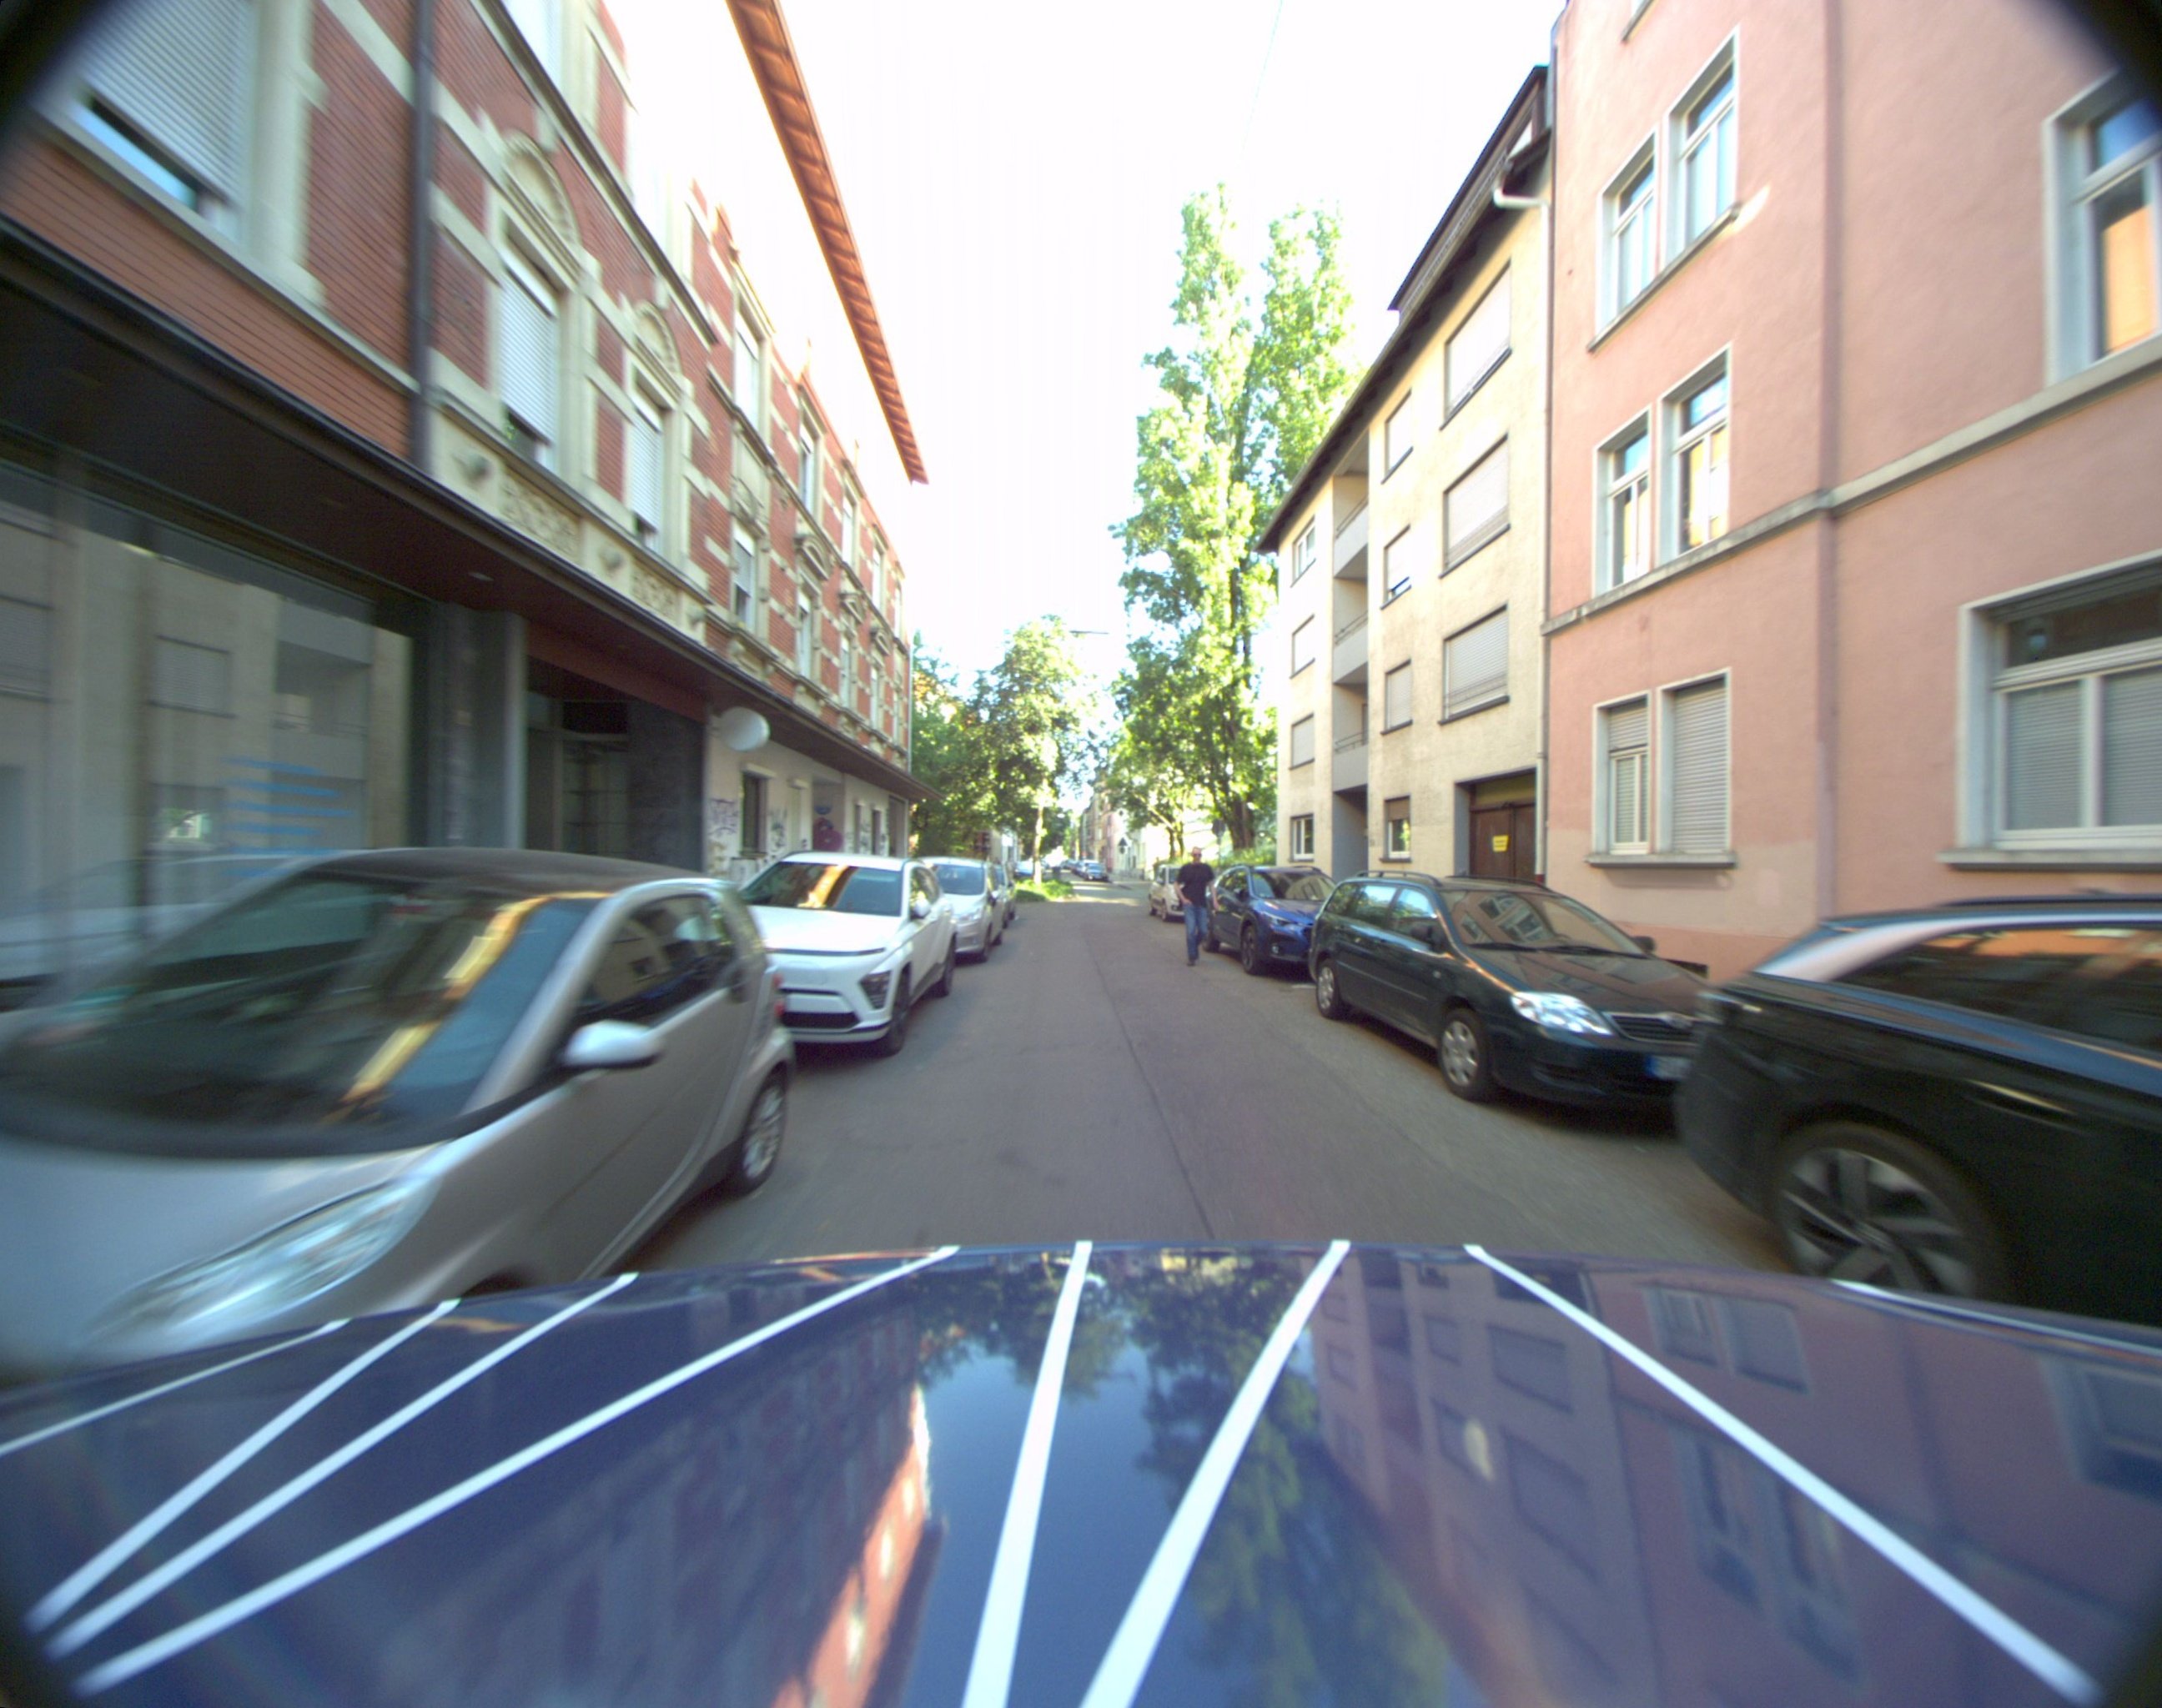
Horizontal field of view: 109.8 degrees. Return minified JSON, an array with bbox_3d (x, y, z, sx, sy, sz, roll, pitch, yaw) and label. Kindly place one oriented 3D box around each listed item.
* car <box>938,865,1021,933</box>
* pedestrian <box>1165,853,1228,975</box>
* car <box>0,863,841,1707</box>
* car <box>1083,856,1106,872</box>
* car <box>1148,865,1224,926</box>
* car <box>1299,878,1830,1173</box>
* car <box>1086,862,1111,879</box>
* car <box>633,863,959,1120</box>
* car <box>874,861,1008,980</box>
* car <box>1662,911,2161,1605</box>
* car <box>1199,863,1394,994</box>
[{"bbox_3d":[-2.454,1.044,19.214,1.647,1.442,4.165,-1,0,-2],"label":"car"},{"bbox_3d":[1.723,0.867,11.474,0.740,1.743,0.997,1,0,-1],"label":"pedestrian"},{"bbox_3d":[-2.281,0.893,2.959,1.526,1.525,3.463,6,0,-2],"label":"car"},{"bbox_3d":[1.291,0.972,76.445,2.168,1.508,5.376,2,0,0],"label":"car"},{"bbox_3d":[2.829,1.076,21.159,1.465,1.512,3.660,2,-1,-2],"label":"car"},{"bbox_3d":[3.229,1.008,6.160,1.647,1.483,3.999,1,0,-2],"label":"car"},{"bbox_3d":[1.413,1.314,61.483,1.760,1.293,4.248,2,0,-2],"label":"car"},{"bbox_3d":[-2.238,0.944,7.149,1.603,1.652,4.059,-1,0,-2],"label":"car"},{"bbox_3d":[-2.169,0.956,12.687,1.603,1.626,3.774,-1,0,-2],"label":"car"},{"bbox_3d":[3.426,1.006,0.887,1.771,1.500,4.695,2,0,-2],"label":"car"},{"bbox_3d":[3.044,0.966,11.685,1.647,1.565,4.248,2,0,-2],"label":"car"}]
